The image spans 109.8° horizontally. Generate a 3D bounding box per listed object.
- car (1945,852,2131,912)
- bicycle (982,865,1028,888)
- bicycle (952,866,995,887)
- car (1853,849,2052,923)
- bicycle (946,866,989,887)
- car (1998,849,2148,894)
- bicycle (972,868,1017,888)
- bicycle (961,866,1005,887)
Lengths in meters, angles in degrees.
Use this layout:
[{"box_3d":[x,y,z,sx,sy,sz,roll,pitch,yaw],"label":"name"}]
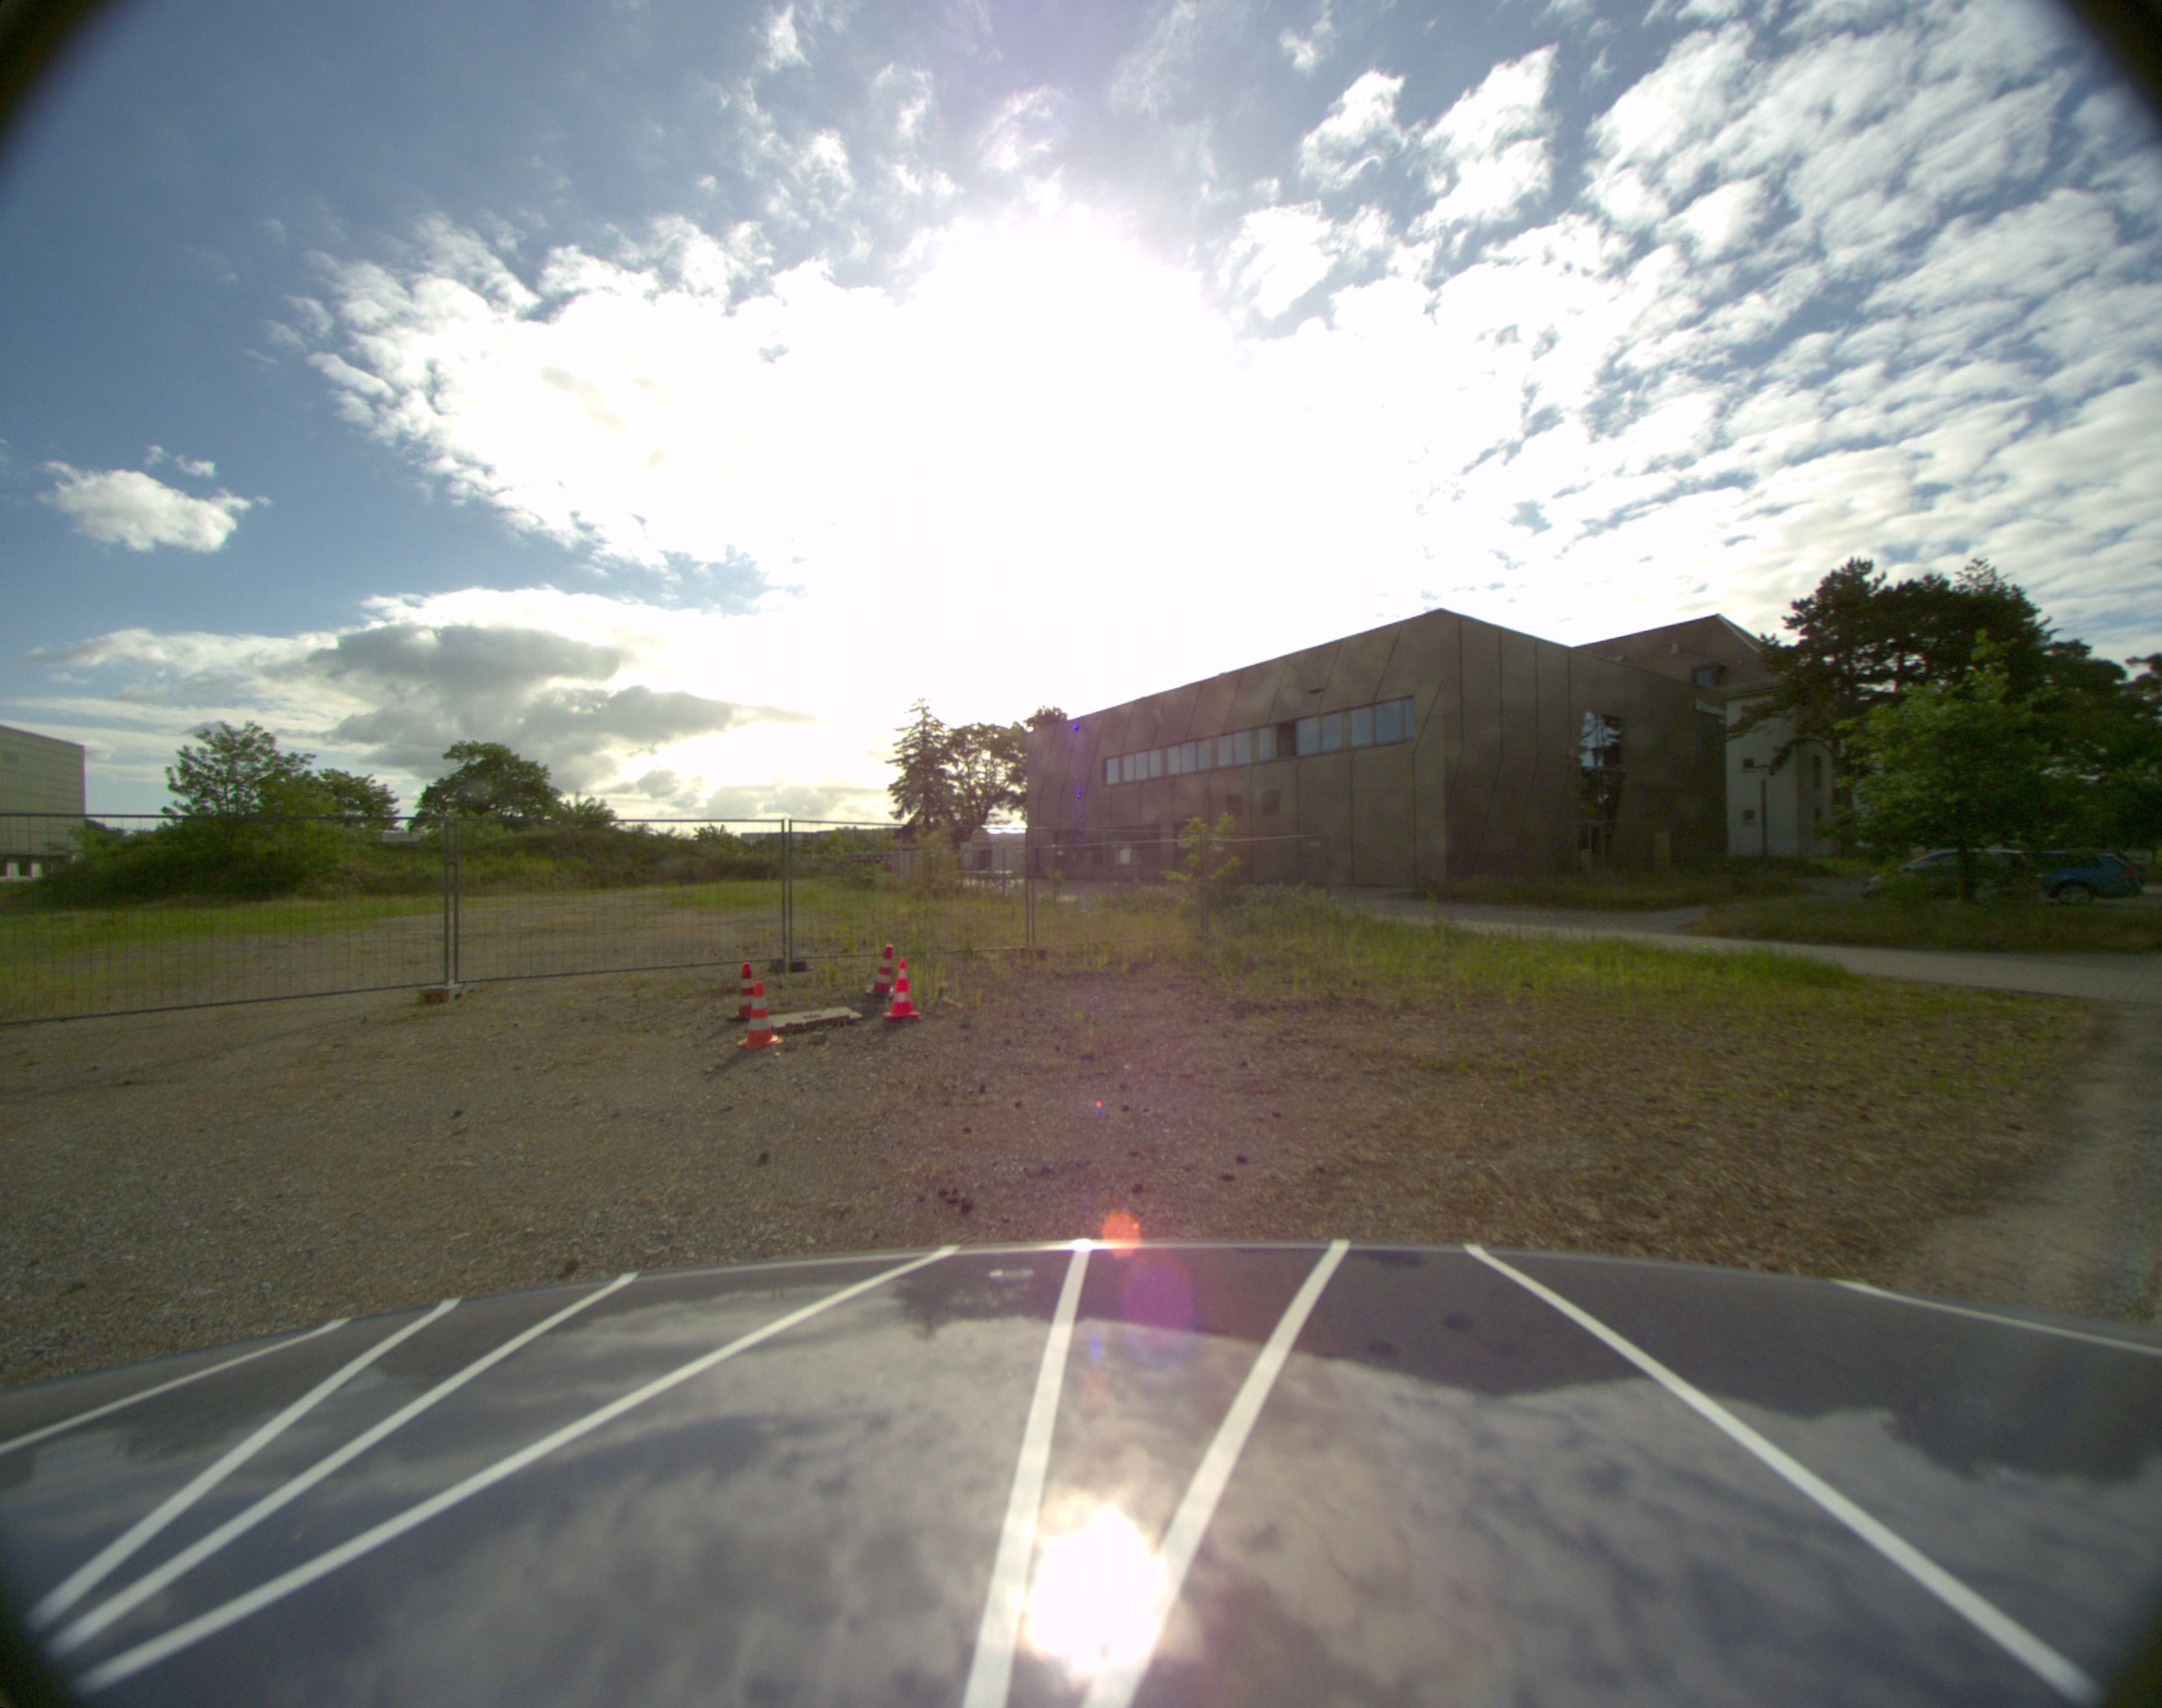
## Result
[{"box_3d":[26.356,0.697,21.026,1.495,1.449,3.084,-1,2,-38],"label":"car"},{"box_3d":[-3.756,1.113,37.637,2.073,1.080,0.943,-1,0,-35],"label":"bicycle"},{"box_3d":[-5.718,1.182,40.382,2.073,1.038,0.943,-1,0,-35],"label":"bicycle"},{"box_3d":[19.969,0.692,17.502,1.427,1.540,2.763,-1,0,-29],"label":"car"},{"box_3d":[-6.173,1.206,41.295,2.073,1.038,0.943,-1,0,-35],"label":"bicycle"},{"box_3d":[34.140,0.597,26.265,1.495,1.441,3.085,-1,0,-39],"label":"car"},{"box_3d":[-4.398,1.204,38.711,2.073,0.916,0.943,-1,0,-35],"label":"bicycle"},{"box_3d":[-5.086,1.150,39.460,2.073,1.038,0.943,-1,0,-35],"label":"bicycle"}]
